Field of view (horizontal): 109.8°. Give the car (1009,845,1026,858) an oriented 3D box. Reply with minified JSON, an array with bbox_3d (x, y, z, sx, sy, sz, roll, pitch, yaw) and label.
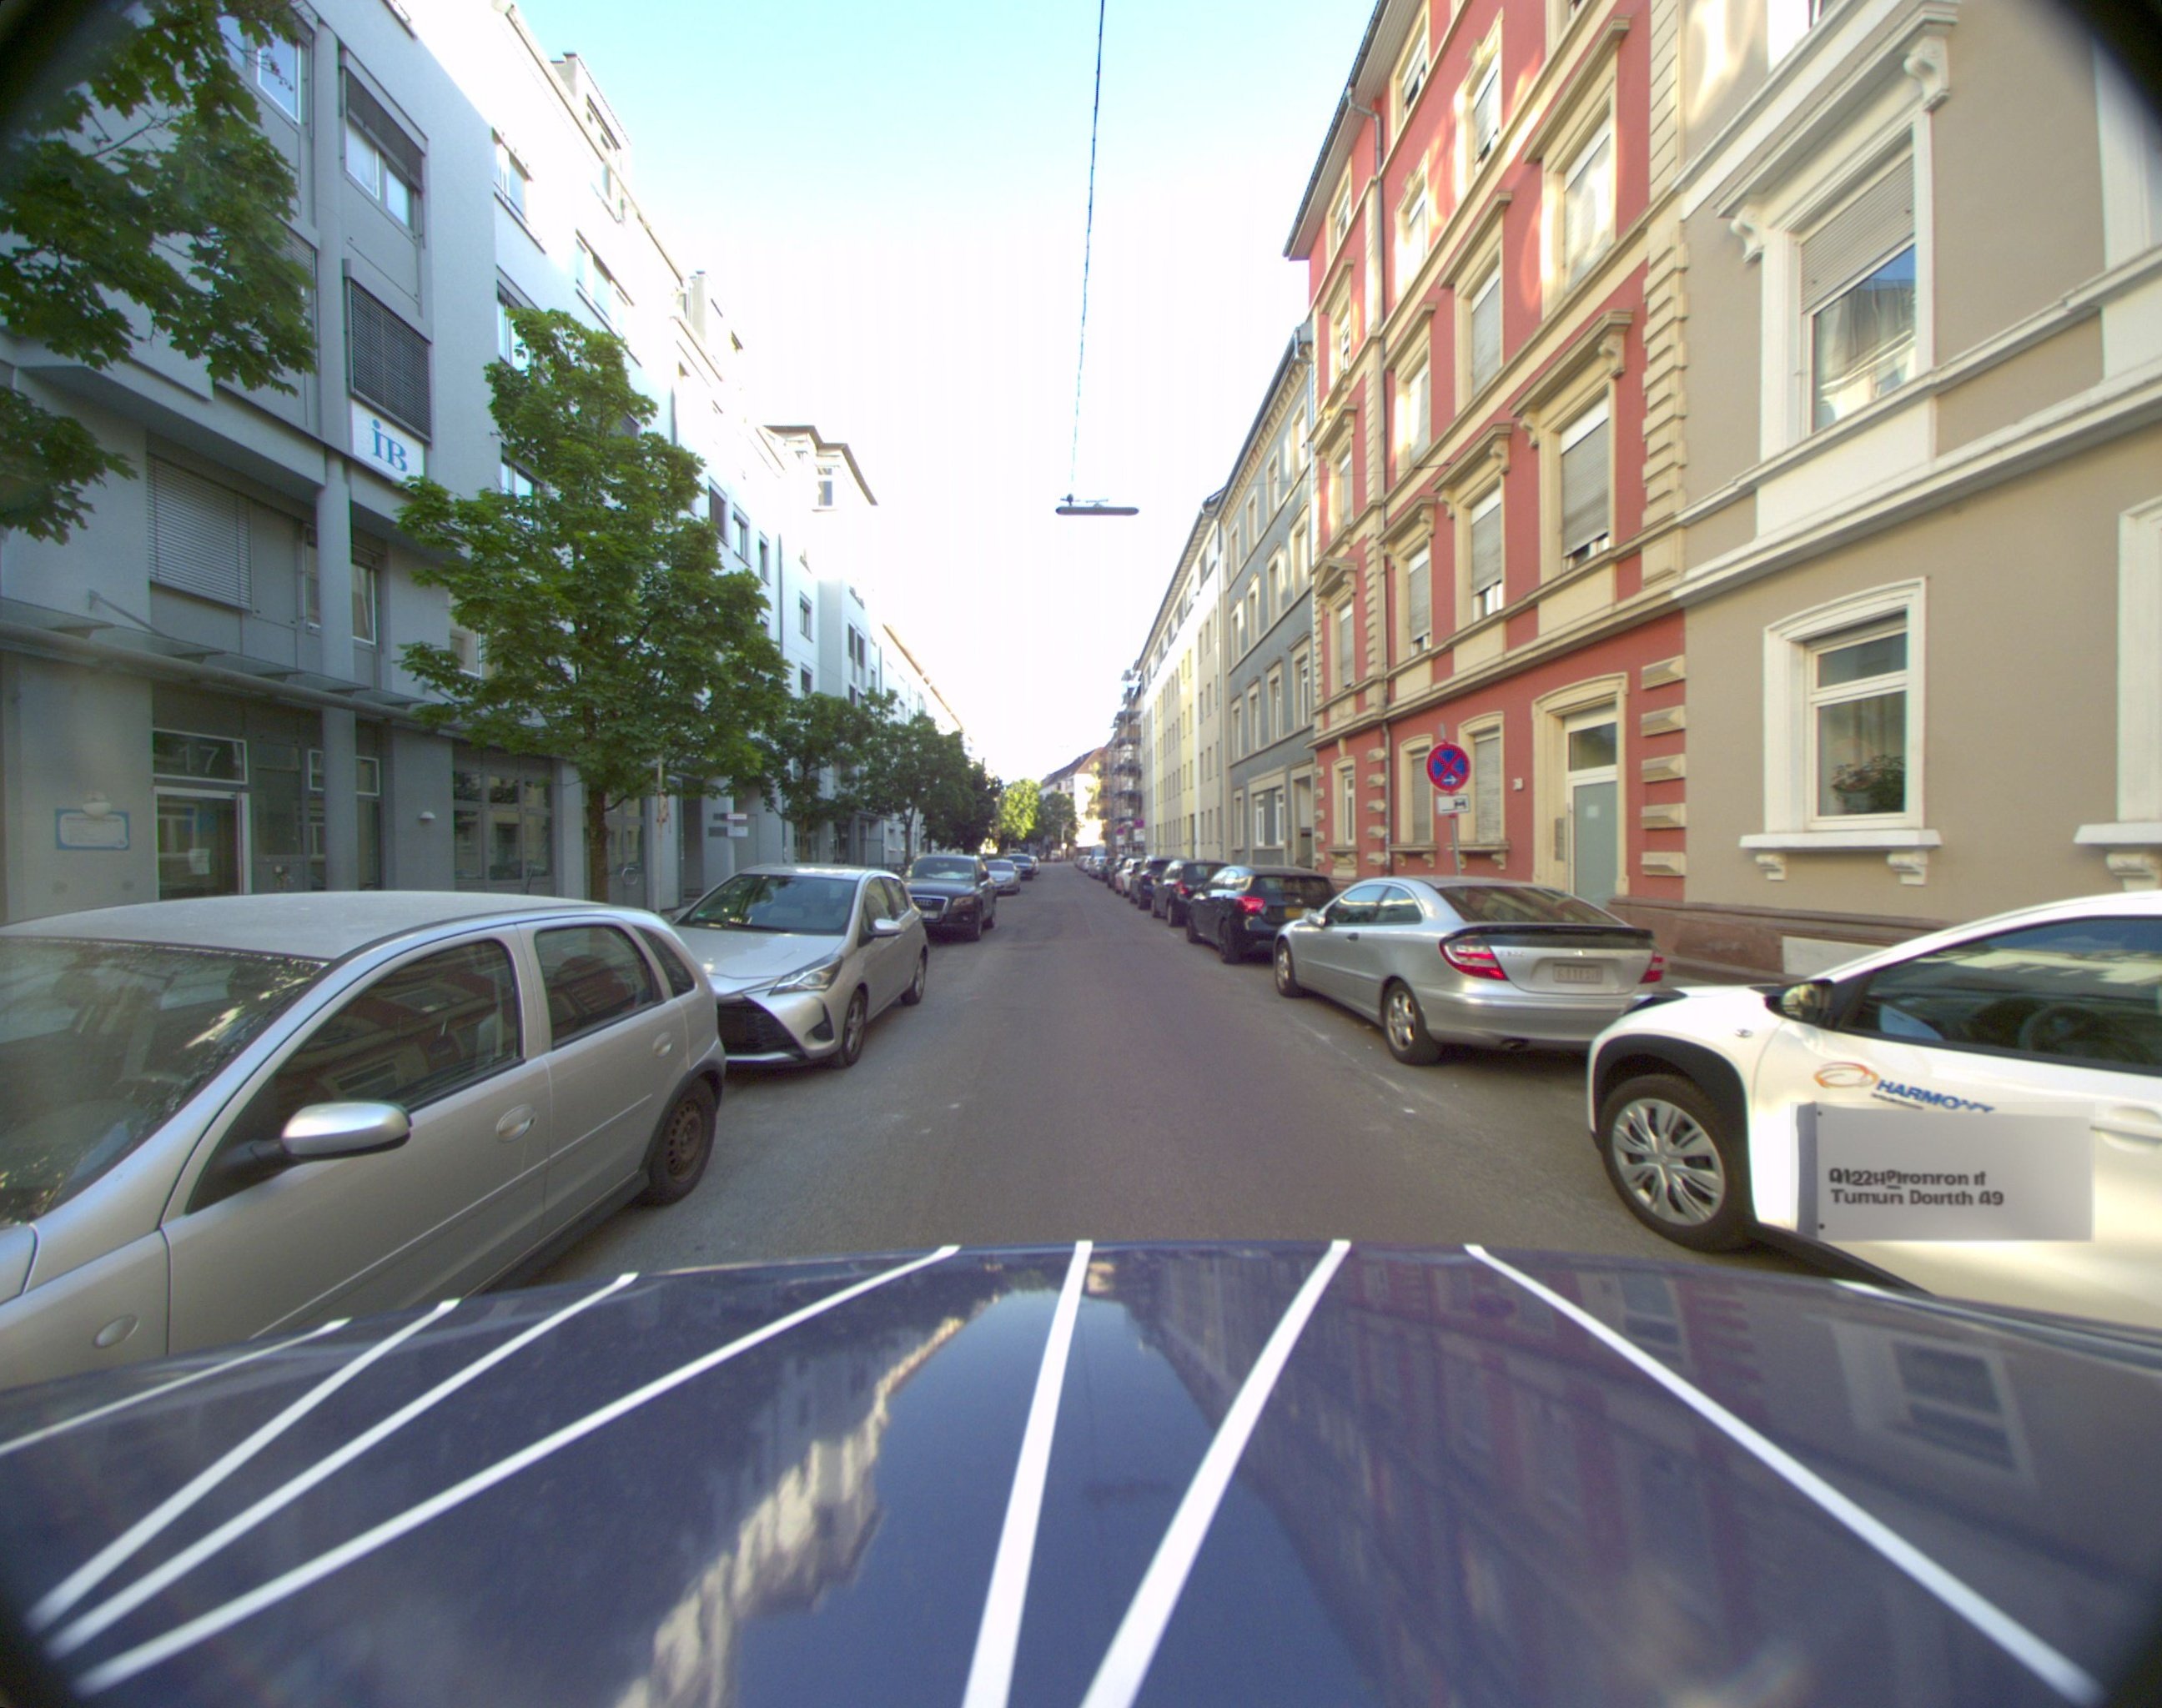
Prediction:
[{"bbox_3d":[-11.772,-0.490,140.232,2.163,2.270,6.199,1,0,-15],"label":"car"}]

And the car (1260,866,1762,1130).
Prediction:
[{"bbox_3d":[3.176,0.935,6.835,1.926,1.551,4.266,1,0,-3],"label":"car"}]

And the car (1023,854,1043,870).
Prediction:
[{"bbox_3d":[-4.426,0.695,70.542,1.681,1.411,4.134,1,0,-2],"label":"car"}]

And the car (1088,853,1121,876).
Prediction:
[{"bbox_3d":[1.657,0.721,54.569,1.928,1.480,4.615,1,0,-3],"label":"car"}]

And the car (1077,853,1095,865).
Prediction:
[{"bbox_3d":[0.591,0.592,95.143,1.999,1.462,3.998,1,0,-3],"label":"car"}]

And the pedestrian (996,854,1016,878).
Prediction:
[{"bbox_3d":[-4.529,0.722,45.742,0.868,1.455,0.804,2,1,40],"label":"pedestrian"}]

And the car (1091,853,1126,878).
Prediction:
[{"bbox_3d":[1.730,0.731,49.201,1.928,1.480,4.616,1,0,-2],"label":"car"}]

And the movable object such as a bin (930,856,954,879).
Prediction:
[{"bbox_3d":[-8.244,0.803,45.067,1.265,1.313,1.138,0,1,-2],"label":"movable object such as a bin"}]

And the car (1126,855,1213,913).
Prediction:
[{"bbox_3d":[2.550,0.829,23.017,1.926,1.551,4.266,1,0,-3],"label":"car"}]

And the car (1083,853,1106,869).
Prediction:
[{"bbox_3d":[1.279,0.674,73.842,1.999,1.439,3.998,1,0,-3],"label":"car"}]

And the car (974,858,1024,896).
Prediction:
[{"bbox_3d":[-3.393,0.928,32.138,1.768,1.421,4.343,1,0,-2],"label":"car"}]

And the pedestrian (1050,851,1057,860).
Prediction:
[{"bbox_3d":[-4.621,0.201,127.667,0.804,1.455,0.868,0,1,-40],"label":"pedestrian"}]

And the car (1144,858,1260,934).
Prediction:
[{"bbox_3d":[2.739,0.898,18.202,1.906,1.551,4.239,1,0,-3],"label":"car"}]

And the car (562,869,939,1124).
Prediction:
[{"bbox_3d":[-2.491,0.957,6.854,1.681,1.516,3.970,1,0,0],"label":"car"}]

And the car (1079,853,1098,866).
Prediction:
[{"bbox_3d":[0.837,0.638,89.240,1.999,1.423,3.998,1,0,-3],"label":"car"}]

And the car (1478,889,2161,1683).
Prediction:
[{"bbox_3d":[3.167,0.954,2.034,1.925,1.498,4.267,1,0,0],"label":"car"}]

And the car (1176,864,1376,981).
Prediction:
[{"bbox_3d":[2.868,0.945,12.229,1.926,1.475,4.266,1,0,-3],"label":"car"}]

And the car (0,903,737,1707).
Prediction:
[{"bbox_3d":[-2.603,1.003,1.949,1.680,1.467,3.729,1,0,1],"label":"car"}]

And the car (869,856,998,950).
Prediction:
[{"bbox_3d":[-2.846,0.875,15.667,1.890,1.613,4.433,1,0,-2],"label":"car"}]

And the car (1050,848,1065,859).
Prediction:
[{"bbox_3d":[-4.033,-0.082,131.704,2.081,1.760,4.214,1,0,-8],"label":"car"}]

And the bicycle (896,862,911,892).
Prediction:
[{"bbox_3d":[-7.069,0.901,30.312,0.522,1.161,1.738,1,1,-12],"label":"bicycle"}]

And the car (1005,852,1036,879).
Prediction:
[{"bbox_3d":[-3.836,0.683,48.809,1.876,1.626,4.720,1,0,-3],"label":"car"}]

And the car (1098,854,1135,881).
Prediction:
[{"bbox_3d":[2.025,0.755,44.353,1.784,1.480,4.419,1,0,-2],"label":"car"}]

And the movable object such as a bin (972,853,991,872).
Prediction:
[{"bbox_3d":[-7.795,0.655,59.526,1.288,1.428,1.223,0,1,-2],"label":"movable object such as a bin"}]

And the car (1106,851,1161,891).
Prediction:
[{"bbox_3d":[2.289,0.718,34.295,1.926,1.654,4.468,1,0,-3],"label":"car"}]

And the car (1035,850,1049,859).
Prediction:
[{"bbox_3d":[-7.607,0.078,147.619,2.082,1.760,4.214,1,0,-10],"label":"car"}]

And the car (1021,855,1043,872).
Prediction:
[{"bbox_3d":[-4.119,0.781,64.361,1.681,1.411,4.135,1,0,-2],"label":"car"}]

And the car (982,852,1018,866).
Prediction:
[{"bbox_3d":[-9.327,0.562,87.842,3.998,1.556,1.999,1,1,-4],"label":"car"}]

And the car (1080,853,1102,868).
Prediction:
[{"bbox_3d":[1.030,0.685,79.151,1.999,1.423,3.998,1,0,-3],"label":"car"}]

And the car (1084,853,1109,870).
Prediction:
[{"bbox_3d":[1.362,0.656,69.014,1.999,1.496,3.998,1,0,-3],"label":"car"}]

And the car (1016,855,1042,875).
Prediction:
[{"bbox_3d":[-4.017,0.803,59.412,1.680,1.474,3.652,1,0,1],"label":"car"}]

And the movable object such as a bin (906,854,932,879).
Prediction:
[{"bbox_3d":[-9.543,0.742,44.775,1.265,1.428,1.138,0,1,-2],"label":"movable object such as a bin"}]

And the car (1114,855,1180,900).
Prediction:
[{"bbox_3d":[2.418,0.823,28.918,1.926,1.551,4.266,1,0,-3],"label":"car"}]
